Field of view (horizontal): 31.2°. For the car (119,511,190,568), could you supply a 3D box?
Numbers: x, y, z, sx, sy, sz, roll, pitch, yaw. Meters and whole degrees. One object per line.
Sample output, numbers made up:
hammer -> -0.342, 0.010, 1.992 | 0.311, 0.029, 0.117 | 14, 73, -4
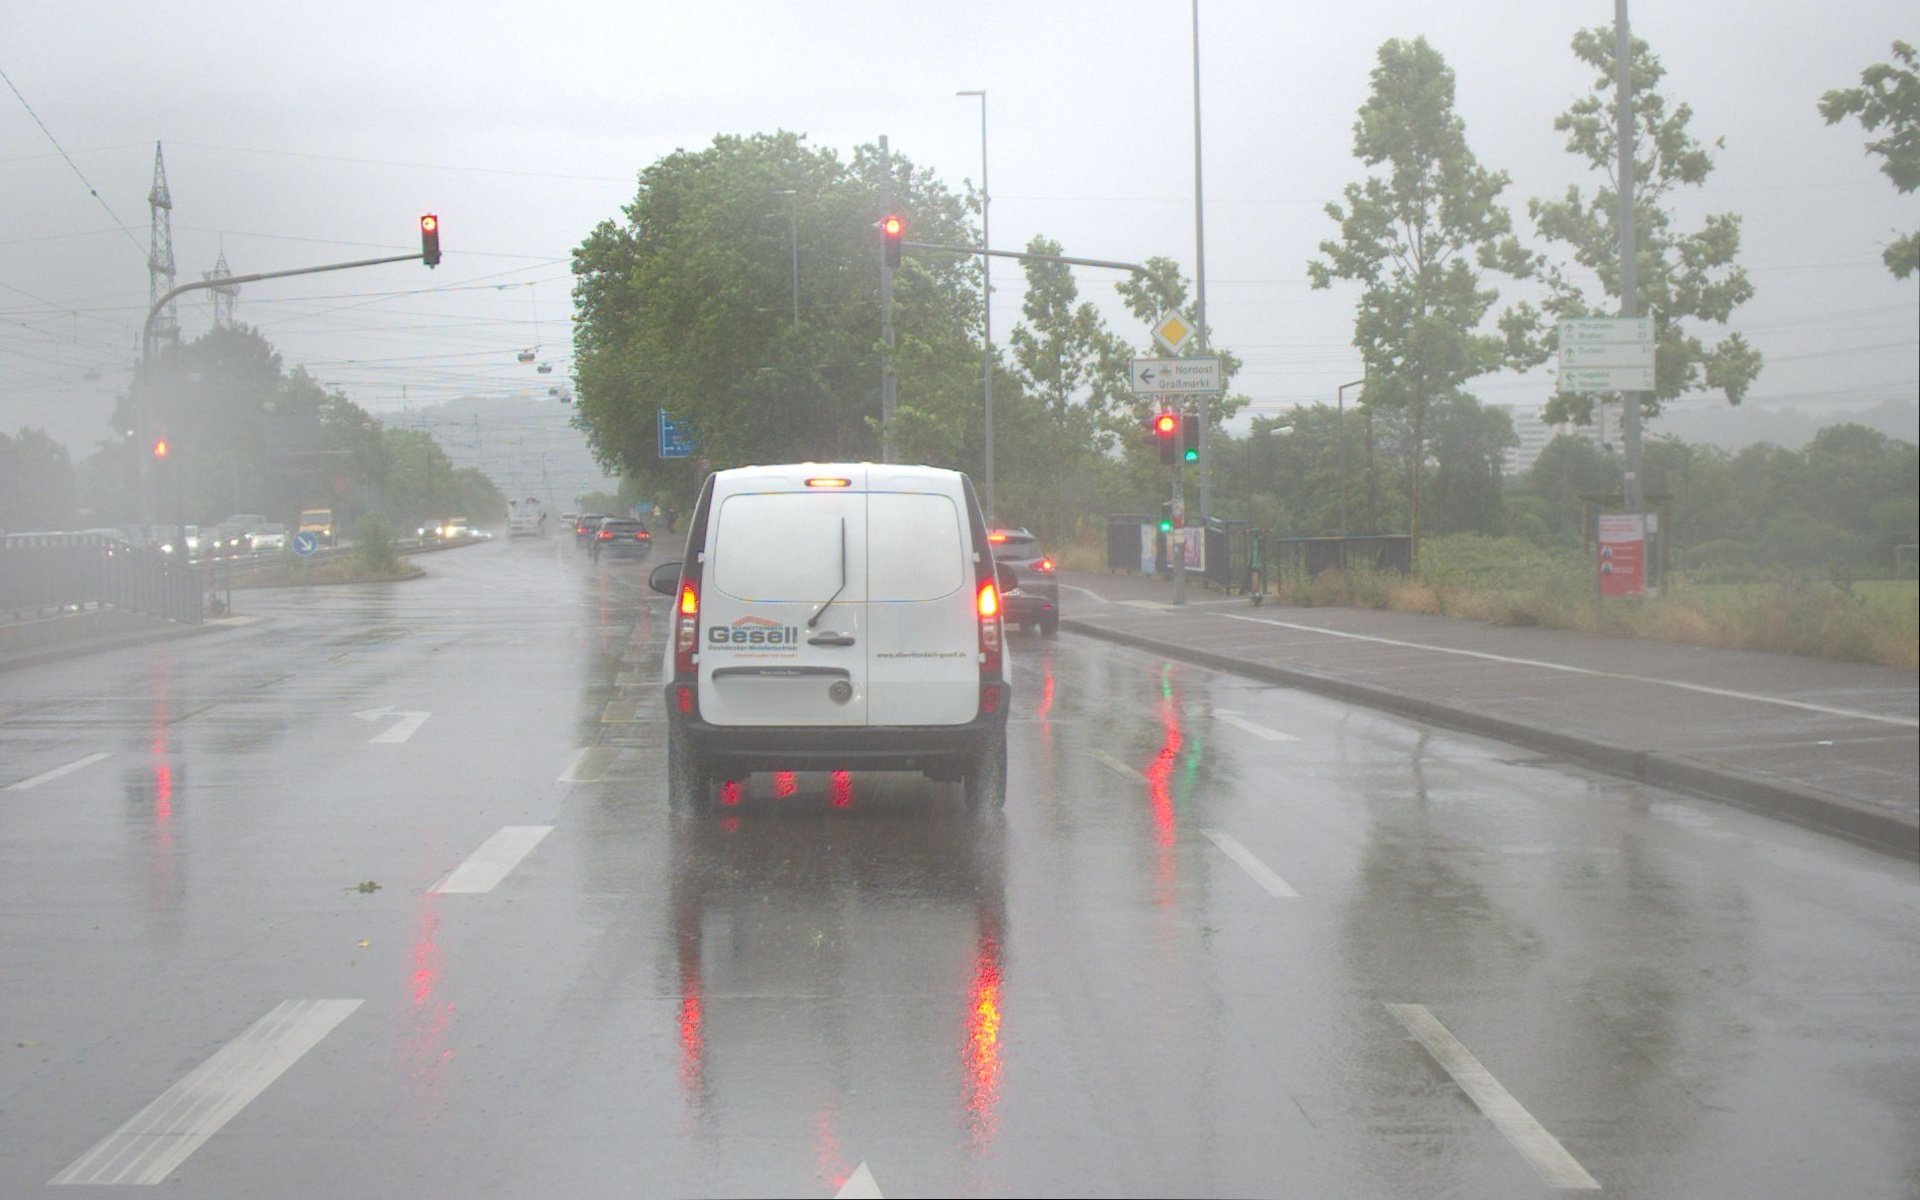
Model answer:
car -> -29.092, -2.198, 124.279 | 1.993, 2.007, 4.001 | 1, 1, -6

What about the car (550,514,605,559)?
car -> -15.268, -2.555, 137.077 | 1.993, 1.744, 4.001 | 0, 1, -9

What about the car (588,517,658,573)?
car -> -10.808, -1.783, 109.935 | 1.993, 1.744, 4.001 | 0, 1, -9

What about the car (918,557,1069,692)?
car -> 0.428, 0.304, 47.756 | 1.993, 1.744, 4.000 | 1, 1, 0

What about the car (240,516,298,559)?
car -> -32.979, -2.994, 164.146 | 1.993, 2.007, 4.000 | 1, 1, 0

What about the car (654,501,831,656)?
car -> -2.570, -0.290, 41.157 | 1.993, 1.744, 4.001 | 1, 1, -3

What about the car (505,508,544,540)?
car -> -23.989, -4.180, 189.191 | 1.993, 1.744, 4.001 | 0, 1, -9

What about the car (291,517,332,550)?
car -> -39.767, -4.086, 210.847 | 1.993, 2.007, 4.001 | 1, 1, -5

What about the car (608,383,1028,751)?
car -> -0.874, -0.203, 18.842 | 2.024, 1.769, 4.275 | 1, 1, -5
